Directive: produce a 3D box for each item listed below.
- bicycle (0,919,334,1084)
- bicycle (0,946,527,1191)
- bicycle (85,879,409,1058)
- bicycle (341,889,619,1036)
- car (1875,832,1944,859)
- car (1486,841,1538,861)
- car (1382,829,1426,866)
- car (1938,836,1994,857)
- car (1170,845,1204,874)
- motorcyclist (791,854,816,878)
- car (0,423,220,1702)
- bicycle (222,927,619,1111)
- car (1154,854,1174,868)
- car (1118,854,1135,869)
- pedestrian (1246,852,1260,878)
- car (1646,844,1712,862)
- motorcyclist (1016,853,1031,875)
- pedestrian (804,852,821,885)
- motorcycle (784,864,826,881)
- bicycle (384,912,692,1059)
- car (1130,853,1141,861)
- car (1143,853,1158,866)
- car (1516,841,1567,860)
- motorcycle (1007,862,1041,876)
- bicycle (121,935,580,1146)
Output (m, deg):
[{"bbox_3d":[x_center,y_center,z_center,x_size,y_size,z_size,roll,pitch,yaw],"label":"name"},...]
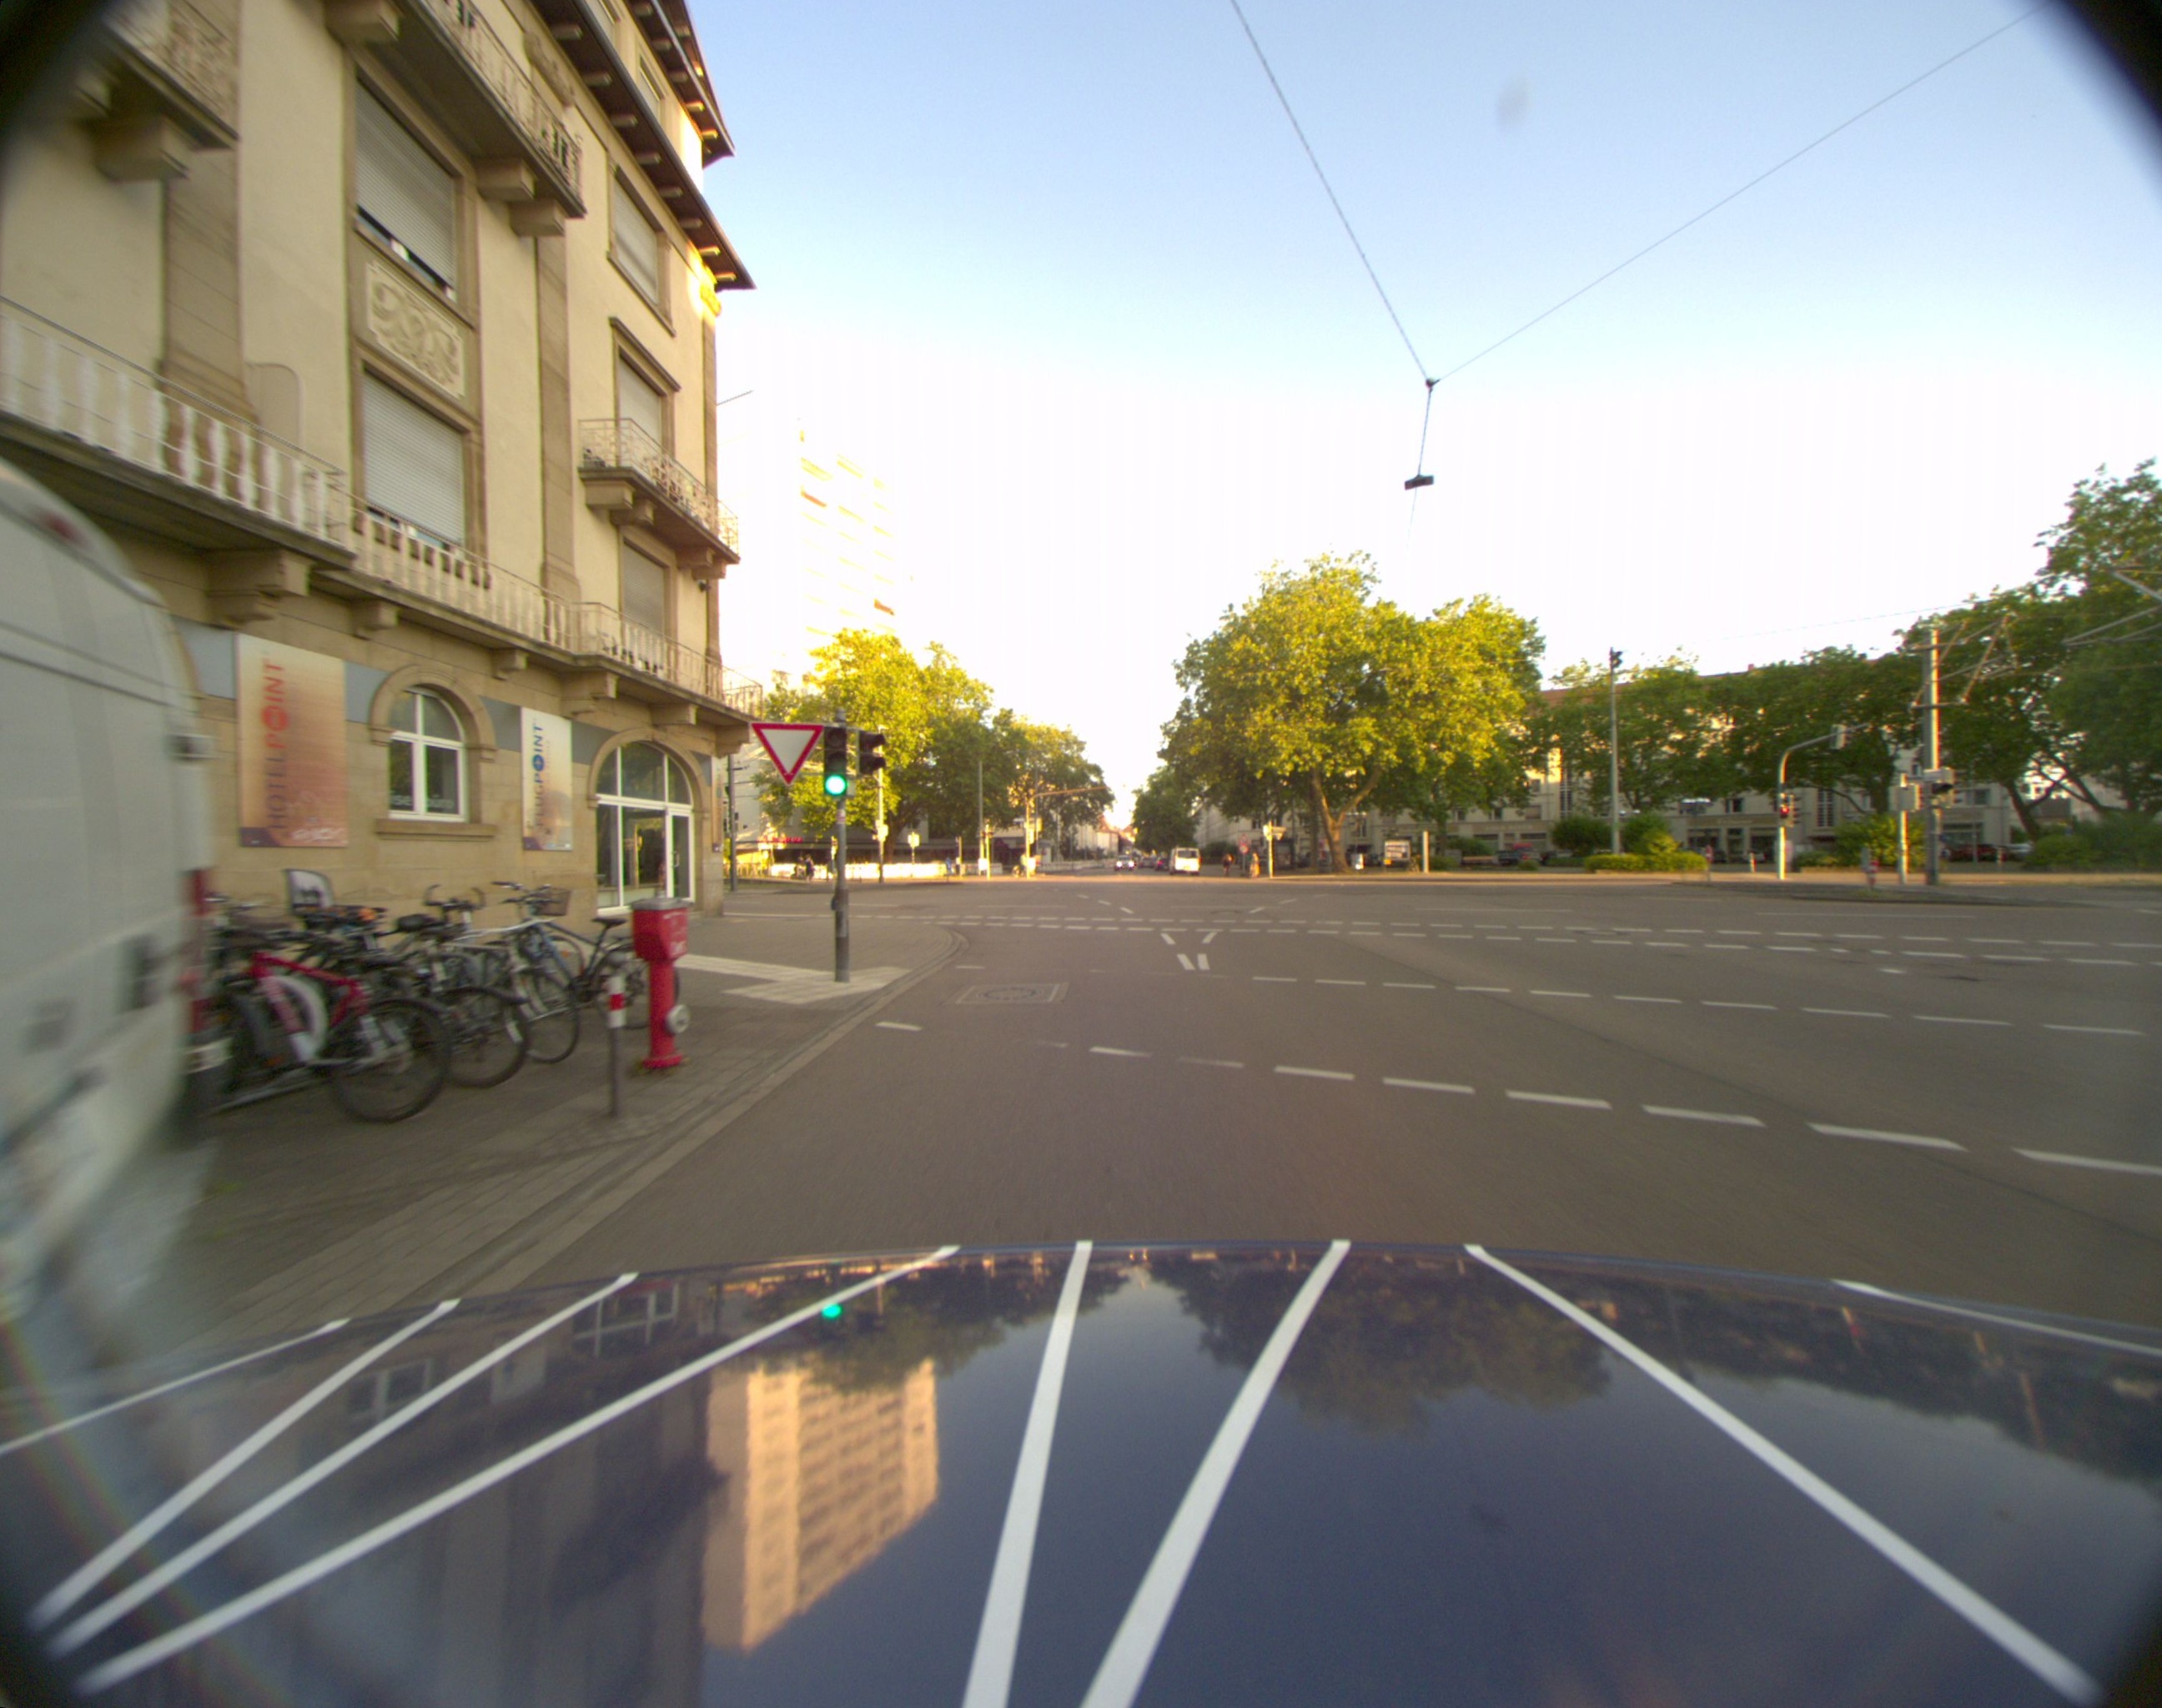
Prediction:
[{"bbox_3d":[-6.356,0.996,5.234,1.777,1.004,0.541,2,0,-4],"label":"bicycle"},{"bbox_3d":[-4.134,1.065,3.933,2.002,1.081,0.541,2,0,-7],"label":"bicycle"},{"bbox_3d":[-6.379,0.864,5.878,1.777,1.266,0.541,2,0,-4],"label":"bicycle"},{"bbox_3d":[-5.411,0.958,6.913,2.000,1.194,0.646,1,0,1],"label":"bicycle"},{"bbox_3d":[59.137,-0.612,54.315,1.995,1.826,4.325,-1,0,28],"label":"car"},{"bbox_3d":[39.707,-0.264,70.046,3.989,1.696,2.004,-1,1,35],"label":"car"},{"bbox_3d":[18.582,-0.357,43.903,1.865,2.002,3.815,-1,0,16],"label":"car"},{"bbox_3d":[70.319,-0.574,60.401,1.759,1.562,3.593,-1,0,29],"label":"car"},{"bbox_3d":[7.678,0.375,55.338,1.991,1.945,4.596,-1,0,2],"label":"car"},{"bbox_3d":[-18.082,0.761,49.523,1.154,1.546,0.910,-1,1,29],"label":"motorcyclist"},{"bbox_3d":[-4.832,0.378,0.128,5.897,2.537,2.189,0,2,-40],"label":"car"},{"bbox_3d":[-4.293,1.070,5.054,2.002,1.081,0.541,2,0,-7],"label":"bicycle"},{"bbox_3d":[8.835,0.746,81.122,1.998,1.450,4.002,-1,0,5],"label":"car"},{"bbox_3d":[4.983,0.760,82.781,1.840,1.549,4.001,-1,0,5],"label":"car"},{"bbox_3d":[10.901,0.667,48.130,0.745,1.619,0.660,-1,1,18],"label":"pedestrian"},{"bbox_3d":[50.175,-0.094,63.857,3.991,1.410,1.812,-1,0,20],"label":"car"},{"bbox_3d":[-4.041,0.726,53.315,0.830,1.510,0.622,-1,1,-24],"label":"motorcyclist"},{"bbox_3d":[-13.693,0.726,38.732,0.663,1.647,0.542,-1,1,-33],"label":"pedestrian"},{"bbox_3d":[-17.989,1.206,49.488,2.799,1.124,0.911,-1,0,29],"label":"motorcycle"},{"bbox_3d":[-4.346,1.061,6.193,2.002,1.081,0.541,2,0,-7],"label":"bicycle"},{"bbox_3d":[10.301,0.560,143.351,1.840,1.419,4.001,-1,0,5],"label":"car"},{"bbox_3d":[8.867,0.688,97.029,1.794,1.571,4.001,-1,0,5],"label":"car"},{"bbox_3d":[43.445,-0.304,71.762,3.989,1.696,2.004,-1,1,35],"label":"car"},{"bbox_3d":[-3.990,1.039,53.336,2.288,0.917,0.622,-1,0,-24],"label":"motorcycle"},{"bbox_3d":[-4.201,1.065,4.492,2.002,1.081,0.541,2,0,-7],"label":"bicycle"}]
